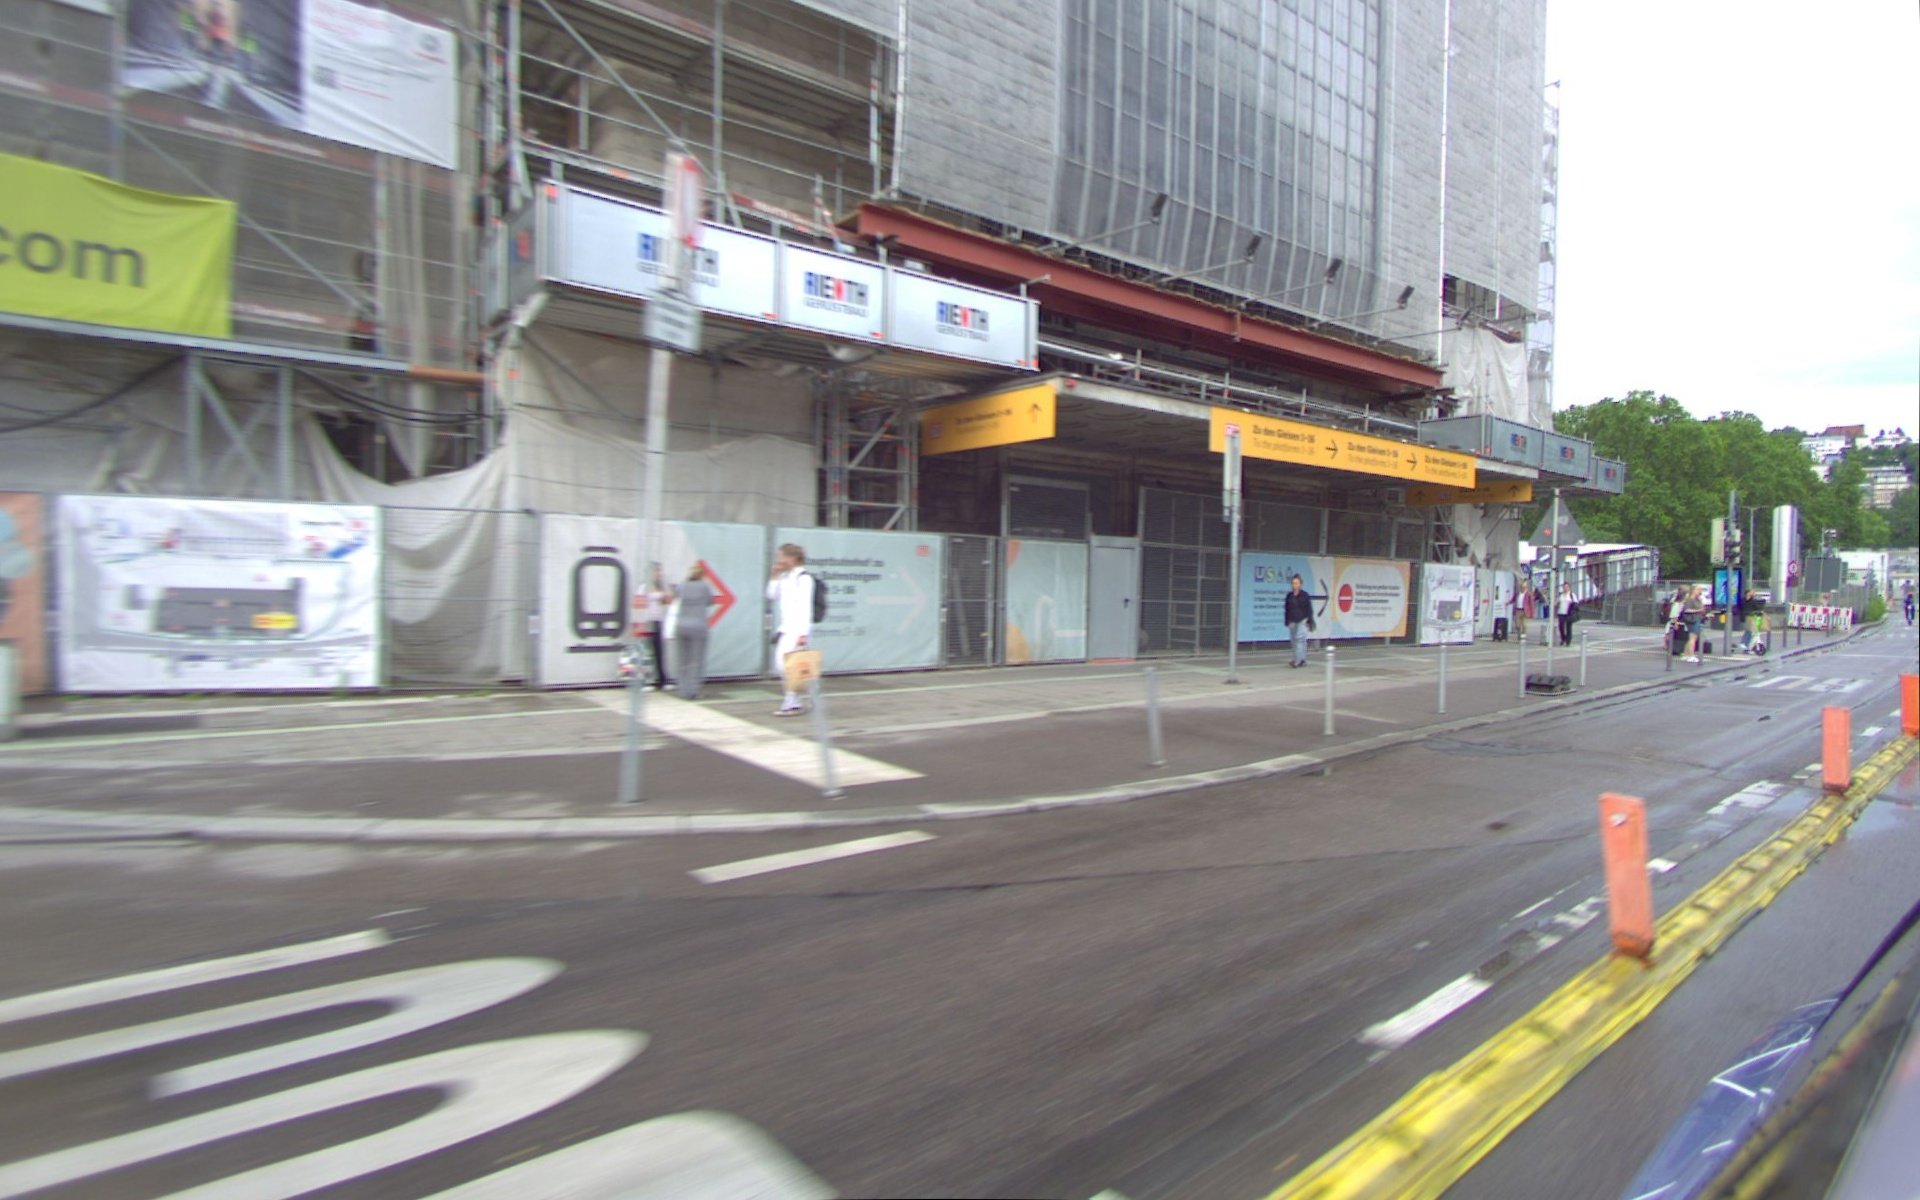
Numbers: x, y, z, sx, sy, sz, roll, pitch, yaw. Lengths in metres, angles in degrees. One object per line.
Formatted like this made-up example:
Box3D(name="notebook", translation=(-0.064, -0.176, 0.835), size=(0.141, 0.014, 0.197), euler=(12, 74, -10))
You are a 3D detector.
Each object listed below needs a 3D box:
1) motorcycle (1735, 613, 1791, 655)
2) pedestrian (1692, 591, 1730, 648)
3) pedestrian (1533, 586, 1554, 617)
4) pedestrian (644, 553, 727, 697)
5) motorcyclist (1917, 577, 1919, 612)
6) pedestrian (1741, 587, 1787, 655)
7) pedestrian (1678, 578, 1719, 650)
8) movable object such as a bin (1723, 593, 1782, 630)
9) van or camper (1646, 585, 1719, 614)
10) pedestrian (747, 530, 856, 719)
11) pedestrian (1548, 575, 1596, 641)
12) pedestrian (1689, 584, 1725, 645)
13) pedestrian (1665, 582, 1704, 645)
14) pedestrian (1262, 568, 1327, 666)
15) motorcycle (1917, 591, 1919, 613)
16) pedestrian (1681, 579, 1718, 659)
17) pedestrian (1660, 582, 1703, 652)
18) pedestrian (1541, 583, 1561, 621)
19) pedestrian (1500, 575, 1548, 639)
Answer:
Box3D(name="motorcycle", translation=(21.407, 0.901, 26.994), size=(0.576, 1.034, 1.237), euler=(1, 1, 7))
Box3D(name="pedestrian", translation=(20.009, 0.506, 26.969), size=(0.698, 1.466, 0.560), euler=(1, 3, -38))
Box3D(name="pedestrian", translation=(31.010, 0.061, 53.771), size=(0.854, 1.613, 0.698), euler=(-1, 0, 43))
Box3D(name="pedestrian", translation=(-3.146, 0.271, 11.571), size=(0.653, 1.558, 0.653), euler=(1, 3, -38))
Box3D(name="motorcyclist", translation=(57.053, -0.296, 59.762), size=(0.724, 2.061, 0.578), euler=(3, 1, 44))
Box3D(name="pedestrian", translation=(21.414, 0.539, 26.975), size=(0.572, 1.762, 0.820), euler=(1, 1, 8))
Box3D(name="pedestrian", translation=(18.746, 0.350, 25.685), size=(0.698, 1.773, 0.560), euler=(1, 3, -38))
Box3D(name="movable object such as a bin", translation=(34.306, 0.478, 43.830), size=(1.502, 1.510, 1.306), euler=(1, 1, -11))
Box3D(name="van or camper", translation=(64.568, -0.083, 90.559), size=(2.343, 2.432, 6.059), euler=(3, 1, 3))
Box3D(name="pedestrian", translation=(-1.671, 0.233, 10.645), size=(0.796, 1.870, 0.725), euler=(1, 4, -40))
Box3D(name="pedestrian", translation=(16.342, 0.202, 27.035), size=(0.940, 1.698, 0.738), euler=(1, 4, -40))
Box3D(name="pedestrian", translation=(20.988, 0.407, 28.434), size=(0.603, 1.670, 0.560), euler=(1, 3, -38))
Box3D(name="pedestrian", translation=(19.755, 0.356, 27.600), size=(0.603, 1.670, 0.566), euler=(1, 3, -35))
Box3D(name="pedestrian", translation=(5.900, 0.293, 17.853), size=(0.977, 1.652, 0.551), euler=(1, 4, -40))
Box3D(name="motorcycle", translation=(57.049, 0.121, 59.779), size=(0.728, 1.244, 2.126), euler=(3, 1, 43))
Box3D(name="pedestrian", translation=(17.149, 0.428, 23.456), size=(0.557, 1.780, 0.742), euler=(5, 3, 37))
Box3D(name="pedestrian", translation=(17.746, 0.420, 24.883), size=(0.738, 1.660, 0.560), euler=(1, 3, -38))
Box3D(name="pedestrian", translation=(31.918, 0.085, 54.635), size=(0.804, 2.039, 0.754), euler=(-1, 0, 43))
Box3D(name="pedestrian", translation=(15.490, 0.185, 27.802), size=(1.089, 1.703, 0.735), euler=(1, 1, -37))
